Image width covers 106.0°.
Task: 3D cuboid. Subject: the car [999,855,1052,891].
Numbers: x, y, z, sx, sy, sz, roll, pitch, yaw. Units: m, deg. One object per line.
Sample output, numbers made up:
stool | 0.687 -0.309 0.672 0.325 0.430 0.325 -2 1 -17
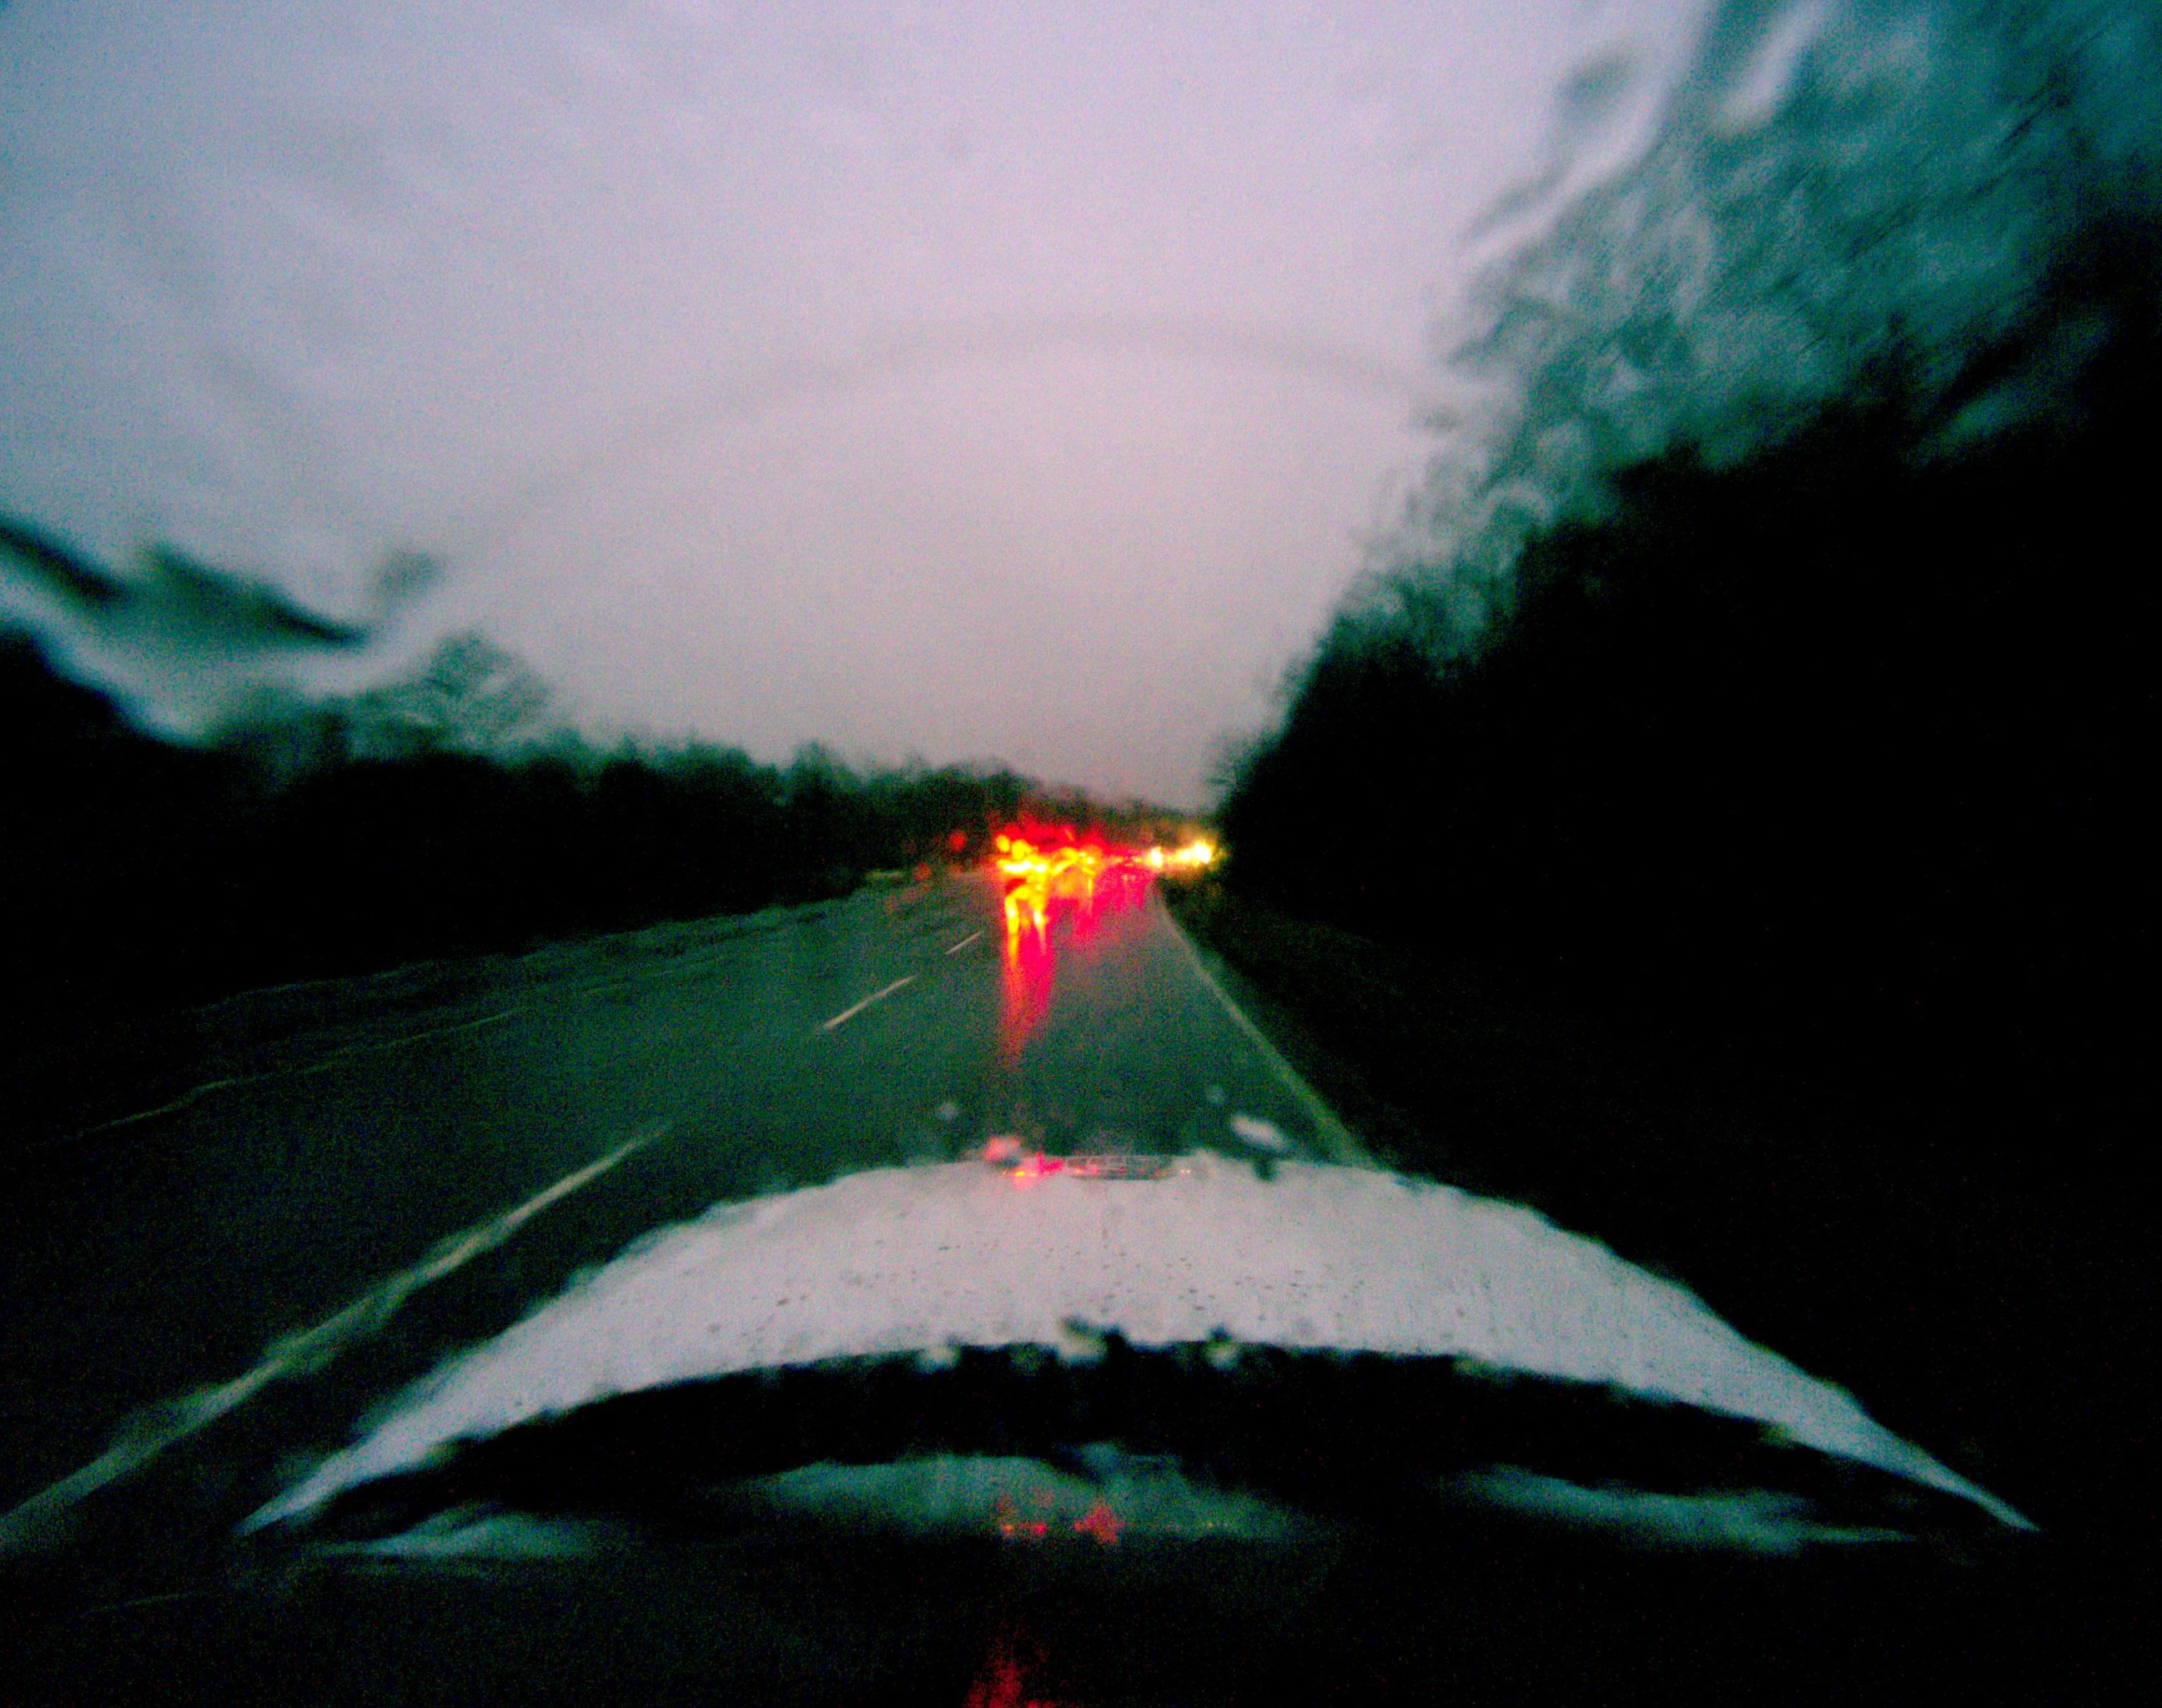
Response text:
car | -2.490 0.845 37.805 1.997 1.556 4.519 0 0 2

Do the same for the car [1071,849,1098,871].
car | 0.299 0.412 61.355 1.705 1.627 4.223 0 0 4

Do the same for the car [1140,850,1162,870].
car | 6.264 0.541 72.635 1.669 1.675 4.108 -2 0 9

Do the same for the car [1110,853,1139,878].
car | 2.672 0.663 49.941 1.671 1.389 4.102 -2 0 3
